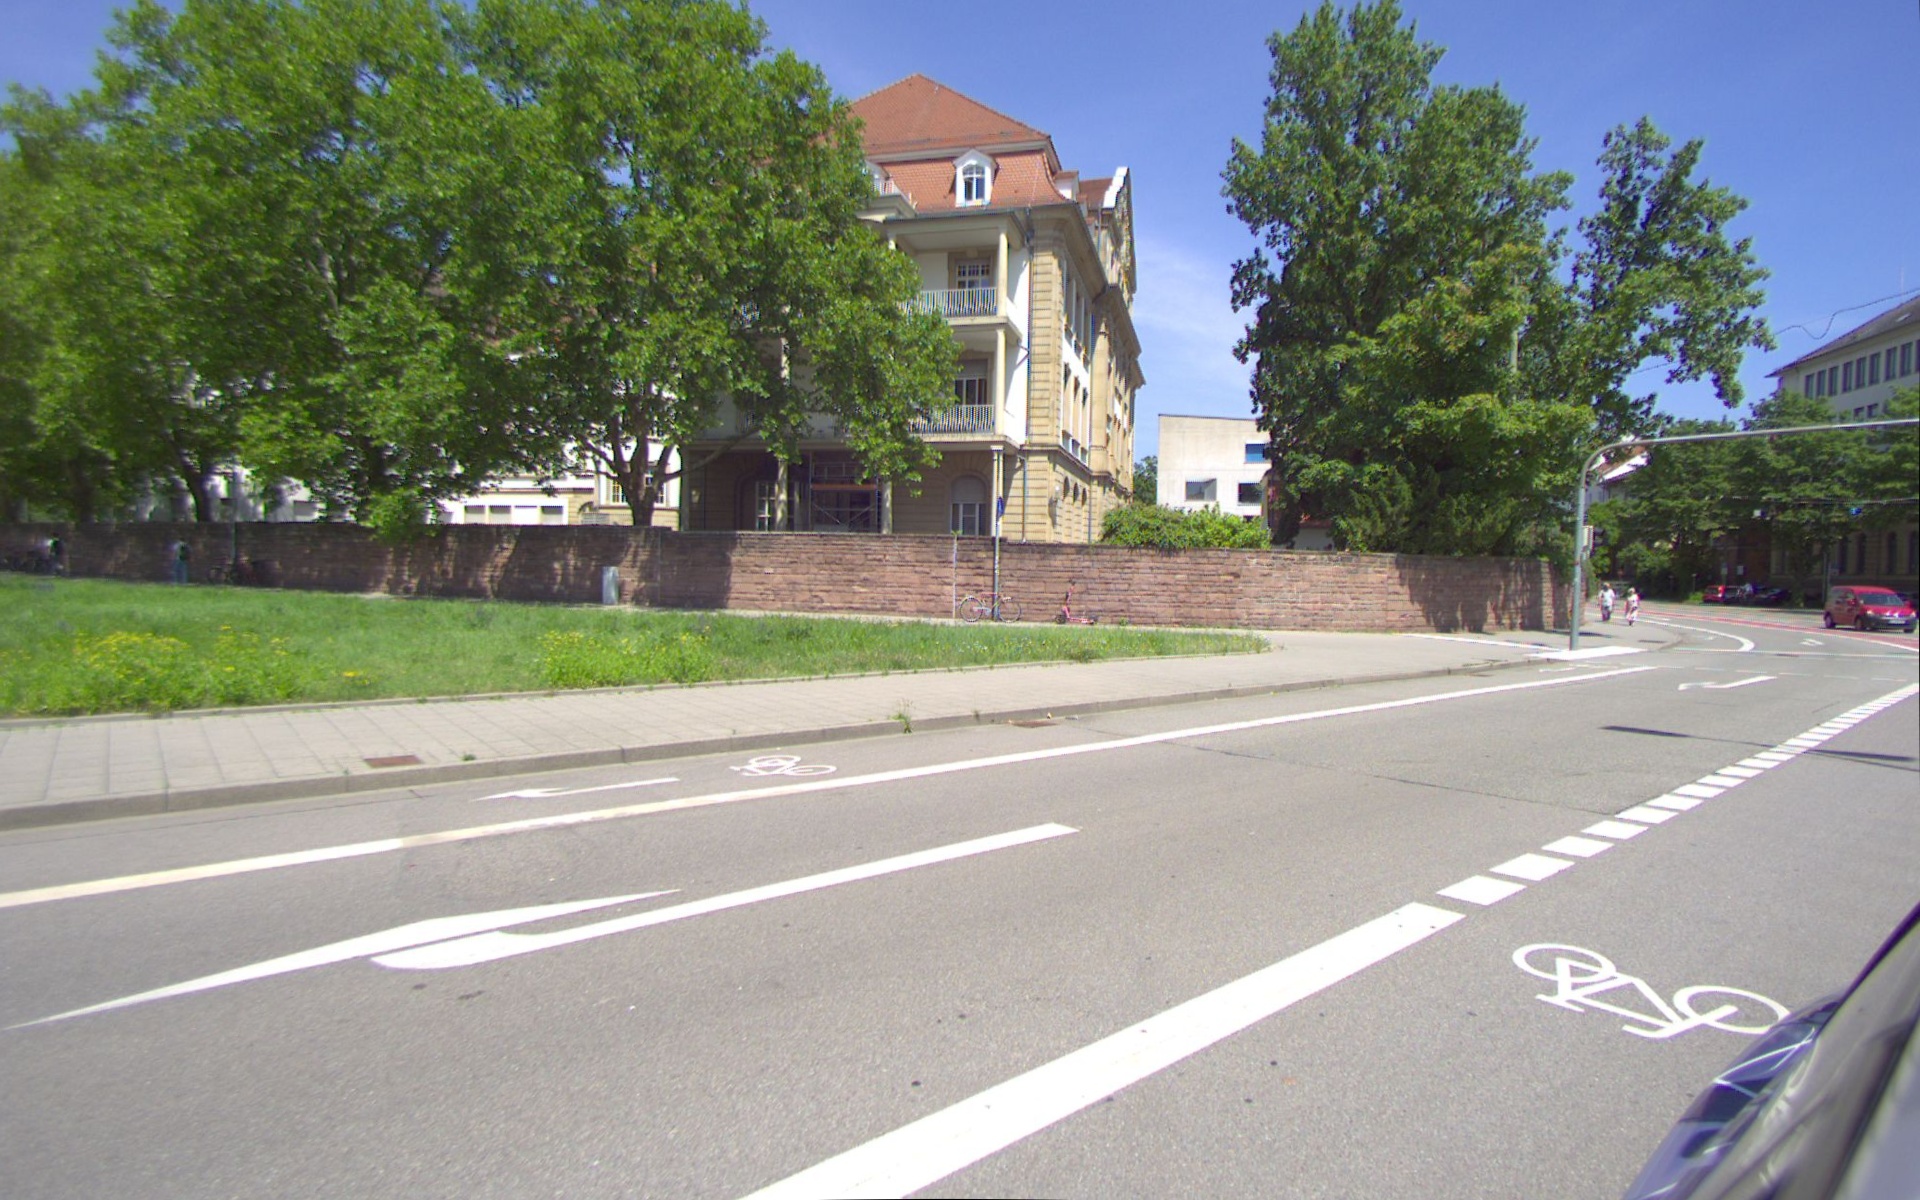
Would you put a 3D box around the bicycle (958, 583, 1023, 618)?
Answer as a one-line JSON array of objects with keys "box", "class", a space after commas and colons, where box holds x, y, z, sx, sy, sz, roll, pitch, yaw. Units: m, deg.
[{"box": [0.831, 0.009, 27.246, 1.743, 0.940, 0.678, 0, 0, 5], "class": "bicycle"}]

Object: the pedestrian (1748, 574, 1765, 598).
[{"box": [56.978, -1.022, 72.408, 0.715, 1.691, 0.640, 2, 2, 20], "class": "pedestrian"}]

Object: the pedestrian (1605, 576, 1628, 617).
[{"box": [28.644, -0.173, 44.164, 0.596, 1.733, 0.555, 4, 1, 16], "class": "pedestrian"}]

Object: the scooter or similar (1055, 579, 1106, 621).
[{"box": [3.269, -0.006, 27.422, 1.323, 1.122, 0.375, 0, 0, -2], "class": "scooter or similar"}]

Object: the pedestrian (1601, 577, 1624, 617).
[{"box": [27.195, -0.119, 42.179, 0.597, 1.631, 0.555, 4, 1, 18], "class": "pedestrian"}]

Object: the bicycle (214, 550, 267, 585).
[{"box": [-25.441, -1.127, 35.781, 2.144, 1.197, 0.454, 0, 0, 22], "class": "bicycle"}]

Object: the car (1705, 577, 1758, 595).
[{"box": [63.759, -1.156, 83.666, 3.504, 1.471, 1.619, 0, 0, -14], "class": "car"}]

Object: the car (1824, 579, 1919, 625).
[{"box": [37.274, 0.053, 40.990, 1.808, 1.788, 4.258, 0, 1, 16], "class": "car"}]

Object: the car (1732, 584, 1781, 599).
[{"box": [62.499, -0.689, 79.428, 2.931, 1.113, 1.282, 0, 0, -3], "class": "car"}]

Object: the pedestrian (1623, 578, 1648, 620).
[{"box": [27.071, -0.035, 40.548, 0.597, 1.631, 0.555, 4, 1, 18], "class": "pedestrian"}]

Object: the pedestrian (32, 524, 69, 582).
[{"box": [-37.191, -1.901, 41.372, 1.066, 2.320, 0.840, 0, 0, 30], "class": "pedestrian"}]

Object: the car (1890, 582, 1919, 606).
[{"box": [58.751, -0.372, 61.279, 3.484, 1.438, 1.572, 0, 0, -1], "class": "car"}]

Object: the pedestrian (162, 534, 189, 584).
[{"box": [-27.752, -1.456, 35.796, 0.521, 1.743, 0.584, 0, 0, 25], "class": "pedestrian"}]
